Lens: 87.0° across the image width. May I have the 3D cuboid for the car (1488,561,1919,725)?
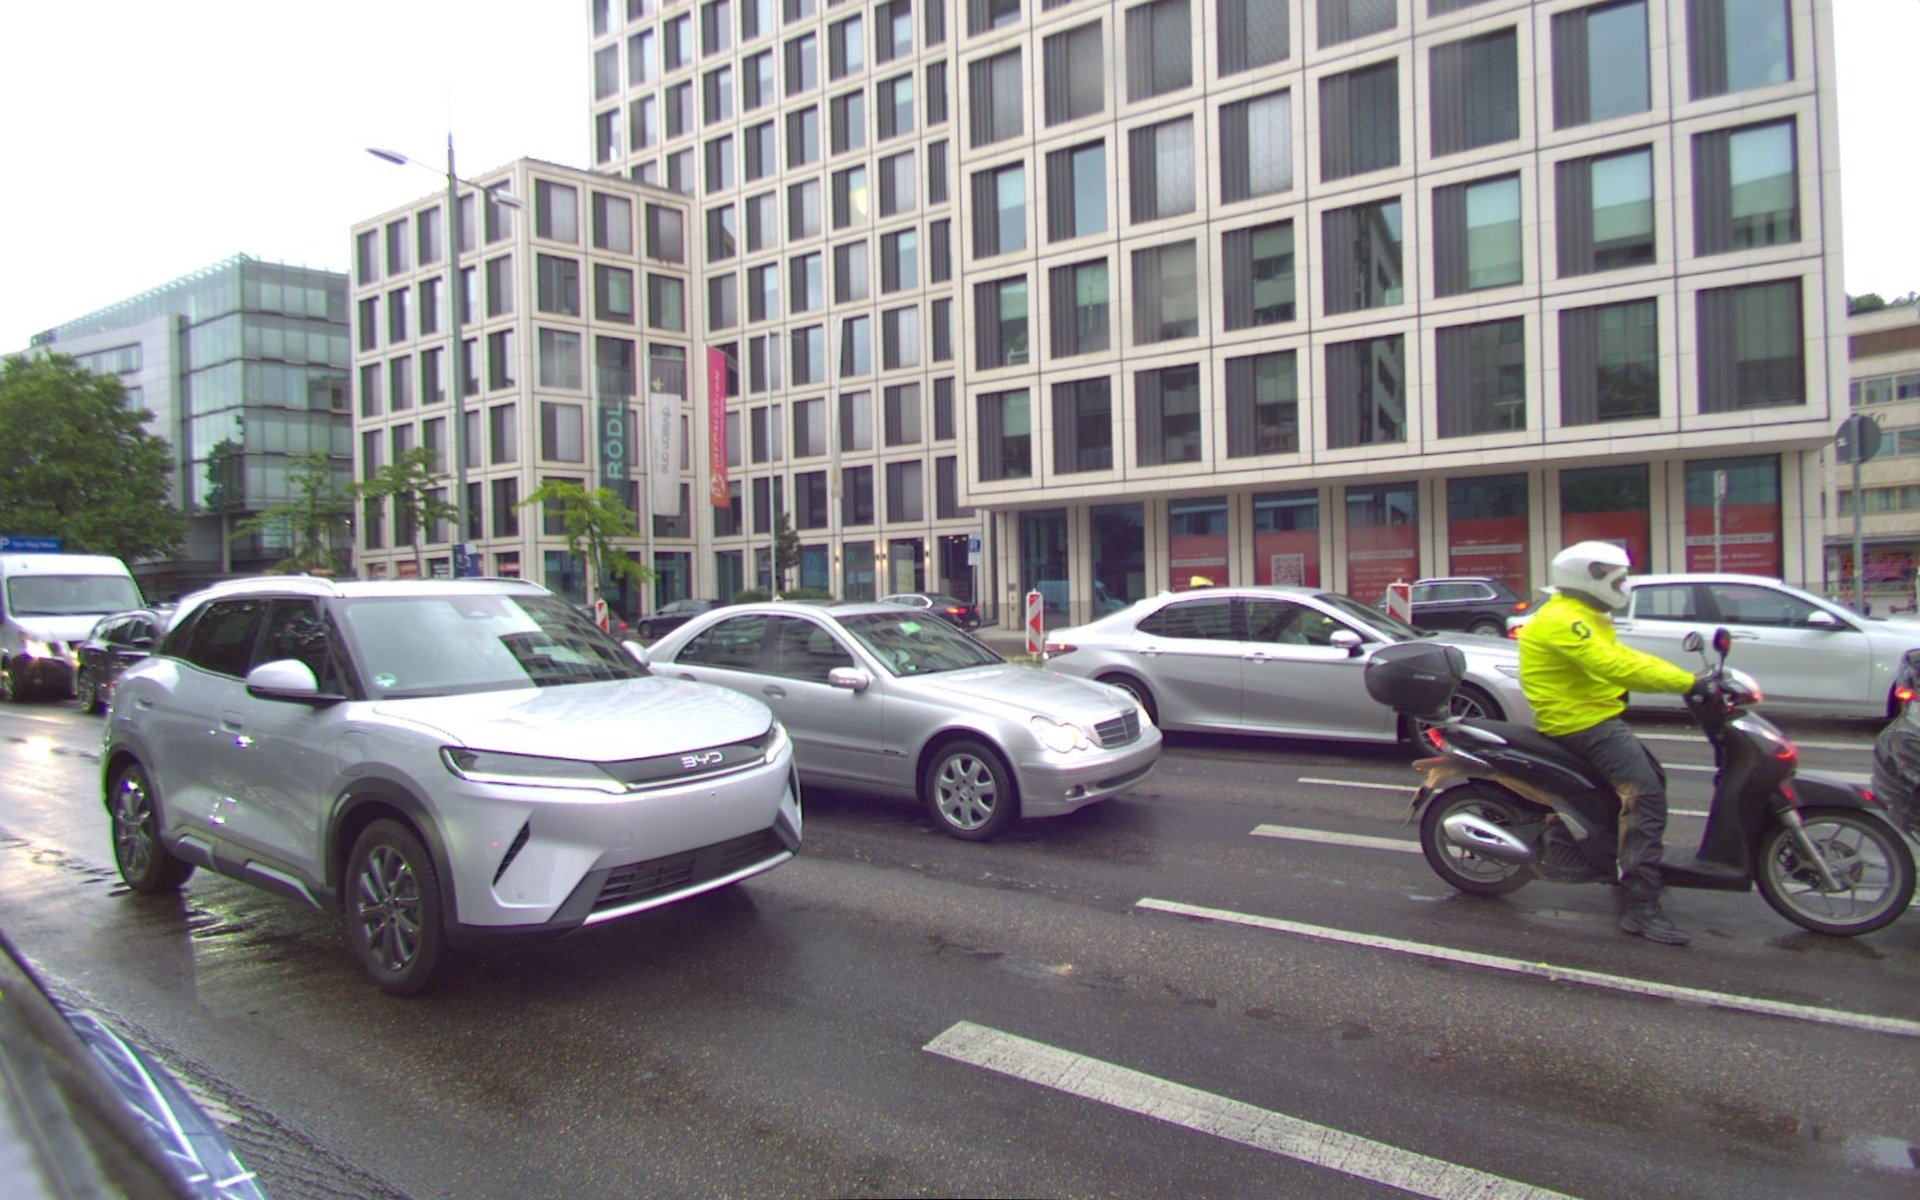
[{"bbox_3d":[7.537,0.345,9.972,3.983,1.383,1.769,0,1,34],"label":"car"}]

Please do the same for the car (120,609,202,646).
[{"bbox_3d":[-47.203,1.617,59.764,4.892,2.029,1.981,-1,1,28],"label":"car"}]

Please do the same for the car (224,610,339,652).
[{"bbox_3d":[-24.179,1.088,36.032,4.121,1.435,1.687,-1,-1,28],"label":"car"}]

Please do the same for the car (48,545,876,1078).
[{"bbox_3d":[-2.626,0.653,5.050,4.157,1.673,1.794,0,1,32],"label":"car"}]

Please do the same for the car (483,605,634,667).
[{"bbox_3d":[-11.192,0.964,28.201,3.979,1.586,1.688,-1,1,27],"label":"car"}]

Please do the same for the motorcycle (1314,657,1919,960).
[{"bbox_3d":[2.865,0.802,4.514,2.285,0.997,0.935,-1,1,30],"label":"motorcycle"}]

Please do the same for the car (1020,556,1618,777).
[{"bbox_3d":[3.059,0.447,9.141,4.790,1.532,1.815,0,1,35],"label":"car"}]

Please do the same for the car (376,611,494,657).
[{"bbox_3d":[-18.491,1.183,35.625,4.172,1.530,1.687,-1,-1,29],"label":"car"}]

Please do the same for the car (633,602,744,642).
[{"bbox_3d":[-10.201,0.835,37.973,3.937,1.435,1.687,-1,-1,28],"label":"car"}]

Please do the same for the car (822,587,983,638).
[{"bbox_3d":[-1.906,0.436,32.989,5.160,1.581,1.687,-1,-1,29],"label":"car"}]

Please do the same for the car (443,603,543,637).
[{"bbox_3d":[-20.127,0.867,43.574,4.354,1.435,1.687,-1,-1,28],"label":"car"}]

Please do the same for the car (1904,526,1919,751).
[{"bbox_3d":[8.453,0.279,5.894,3.982,1.628,1.722,-1,1,28],"label":"car"}]

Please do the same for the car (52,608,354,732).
[{"bbox_3d":[-10.428,0.850,13.883,4.227,1.412,1.886,-1,1,32],"label":"car"}]

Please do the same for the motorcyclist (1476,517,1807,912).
[{"bbox_3d":[2.923,0.424,4.480,1.096,1.486,0.935,-1,1,30],"label":"motorcyclist"}]

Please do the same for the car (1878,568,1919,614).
[{"bbox_3d":[37.970,-0.367,38.353,1.975,1.752,5.029,-1,0,5],"label":"car"}]

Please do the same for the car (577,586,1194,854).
[{"bbox_3d":[-0.698,0.647,7.387,4.372,1.414,1.718,0,1,34],"label":"car"}]

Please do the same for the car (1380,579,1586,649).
[{"bbox_3d":[11.617,0.329,22.650,3.937,1.435,1.687,-1,-1,28],"label":"car"}]

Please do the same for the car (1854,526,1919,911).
[{"bbox_3d":[6.086,0.422,2.946,4.991,1.526,1.871,-1,1,35],"label":"car"}]

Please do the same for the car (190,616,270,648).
[{"bbox_3d":[-36.325,1.592,50.334,3.668,1.530,1.688,-1,-1,26],"label":"car"}]

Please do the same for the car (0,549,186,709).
[{"bbox_3d":[-16.051,0.423,17.849,5.708,2.403,2.234,0,1,36],"label":"car"}]
